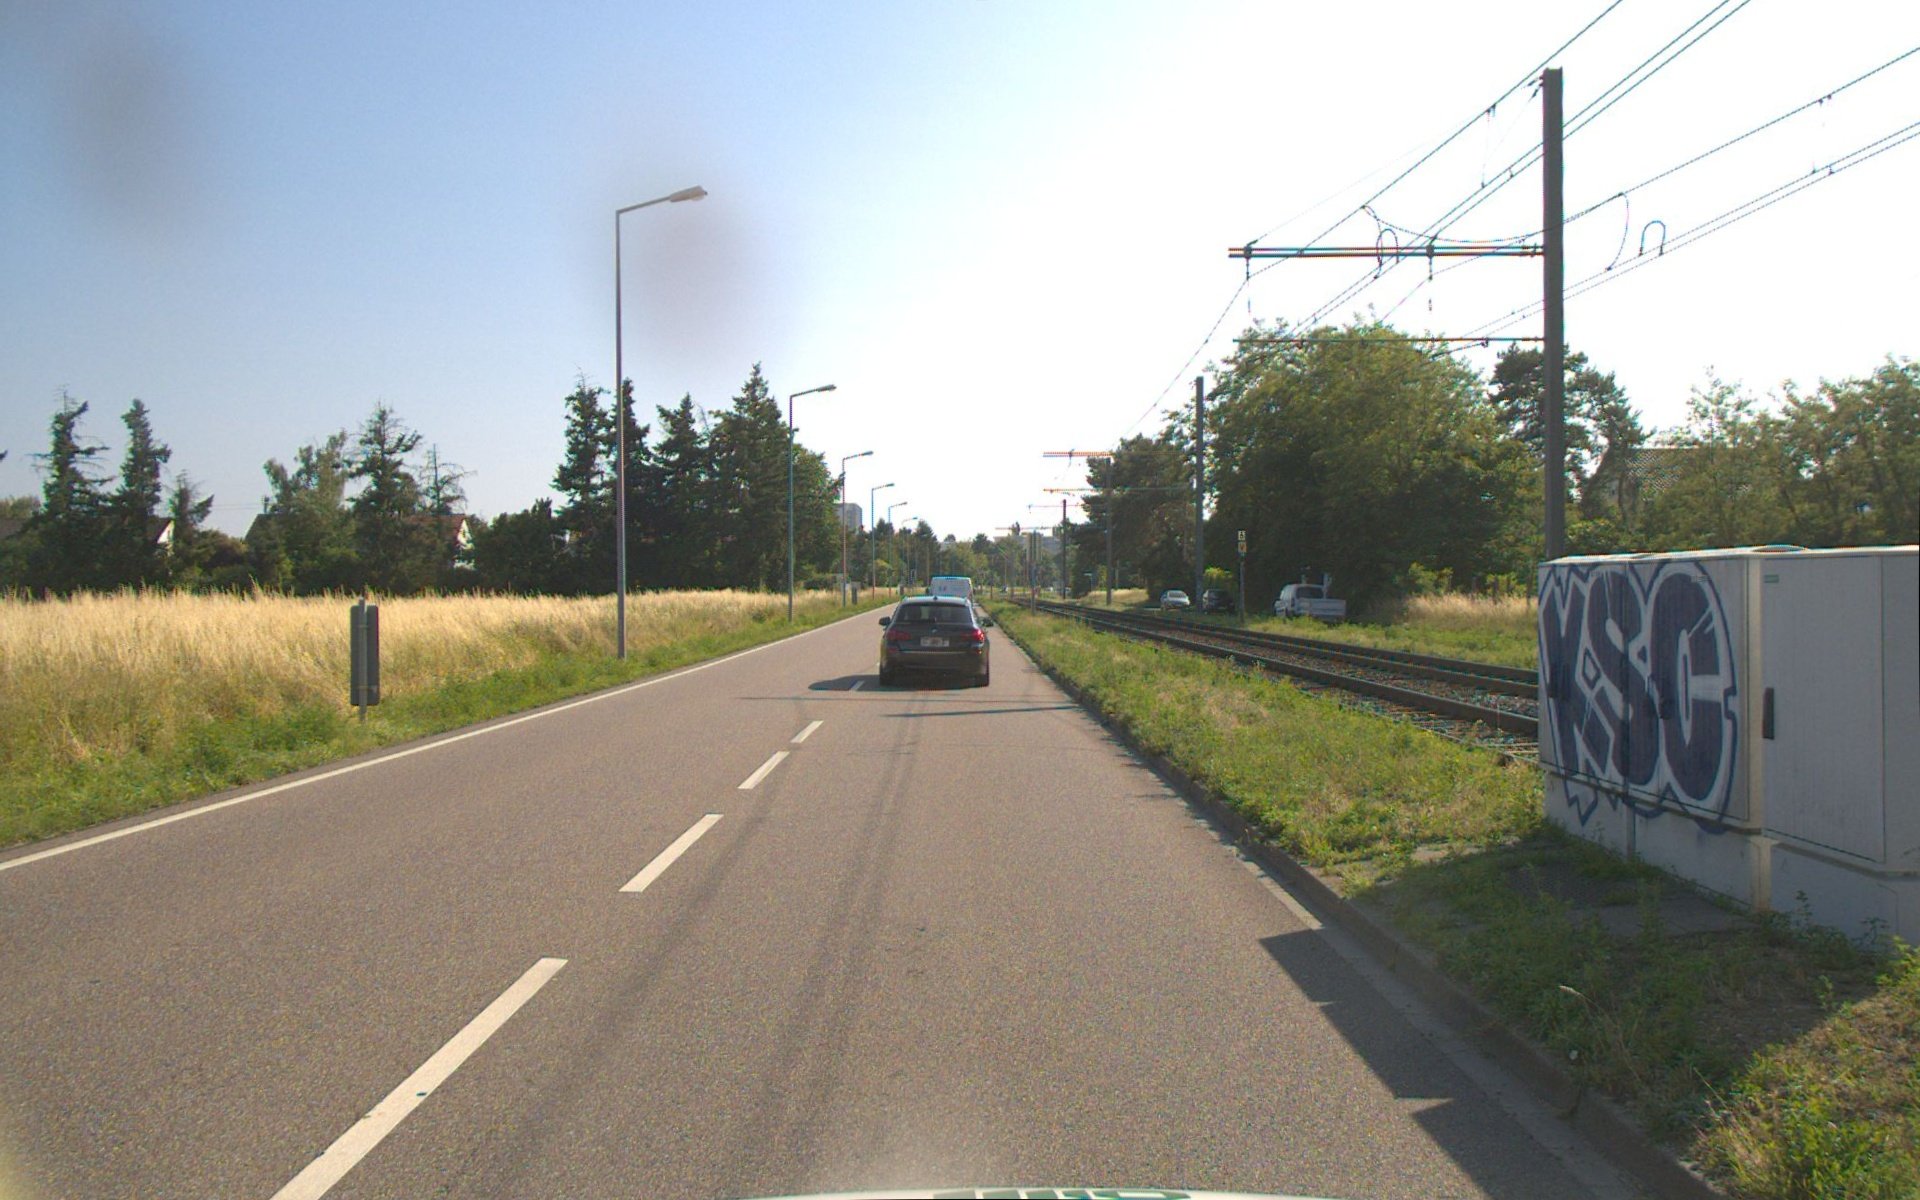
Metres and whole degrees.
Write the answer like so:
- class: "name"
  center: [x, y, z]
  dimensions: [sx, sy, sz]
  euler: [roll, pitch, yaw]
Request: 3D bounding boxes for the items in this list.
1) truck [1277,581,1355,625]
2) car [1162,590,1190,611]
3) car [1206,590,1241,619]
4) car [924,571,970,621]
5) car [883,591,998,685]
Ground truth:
- class: "truck"
  center: [15.825, 0.112, 73.817]
  dimensions: [2.159, 1.851, 5.929]
  euler: [0, 0, -1]
- class: "car"
  center: [15.644, 0.043, 119.863]
  dimensions: [1.588, 1.423, 3.489]
  euler: [1, -1, 0]
- class: "car"
  center: [16.222, 0.276, 101.929]
  dimensions: [1.699, 1.709, 3.545]
  euler: [1, -1, 2]
- class: "car"
  center: [-0.579, -0.202, 70.394]
  dimensions: [1.820, 2.023, 5.107]
  euler: [1, 1, -2]
- class: "car"
  center: [-0.313, 0.595, 28.868]
  dimensions: [1.831, 1.478, 4.743]
  euler: [1, 0, 0]
